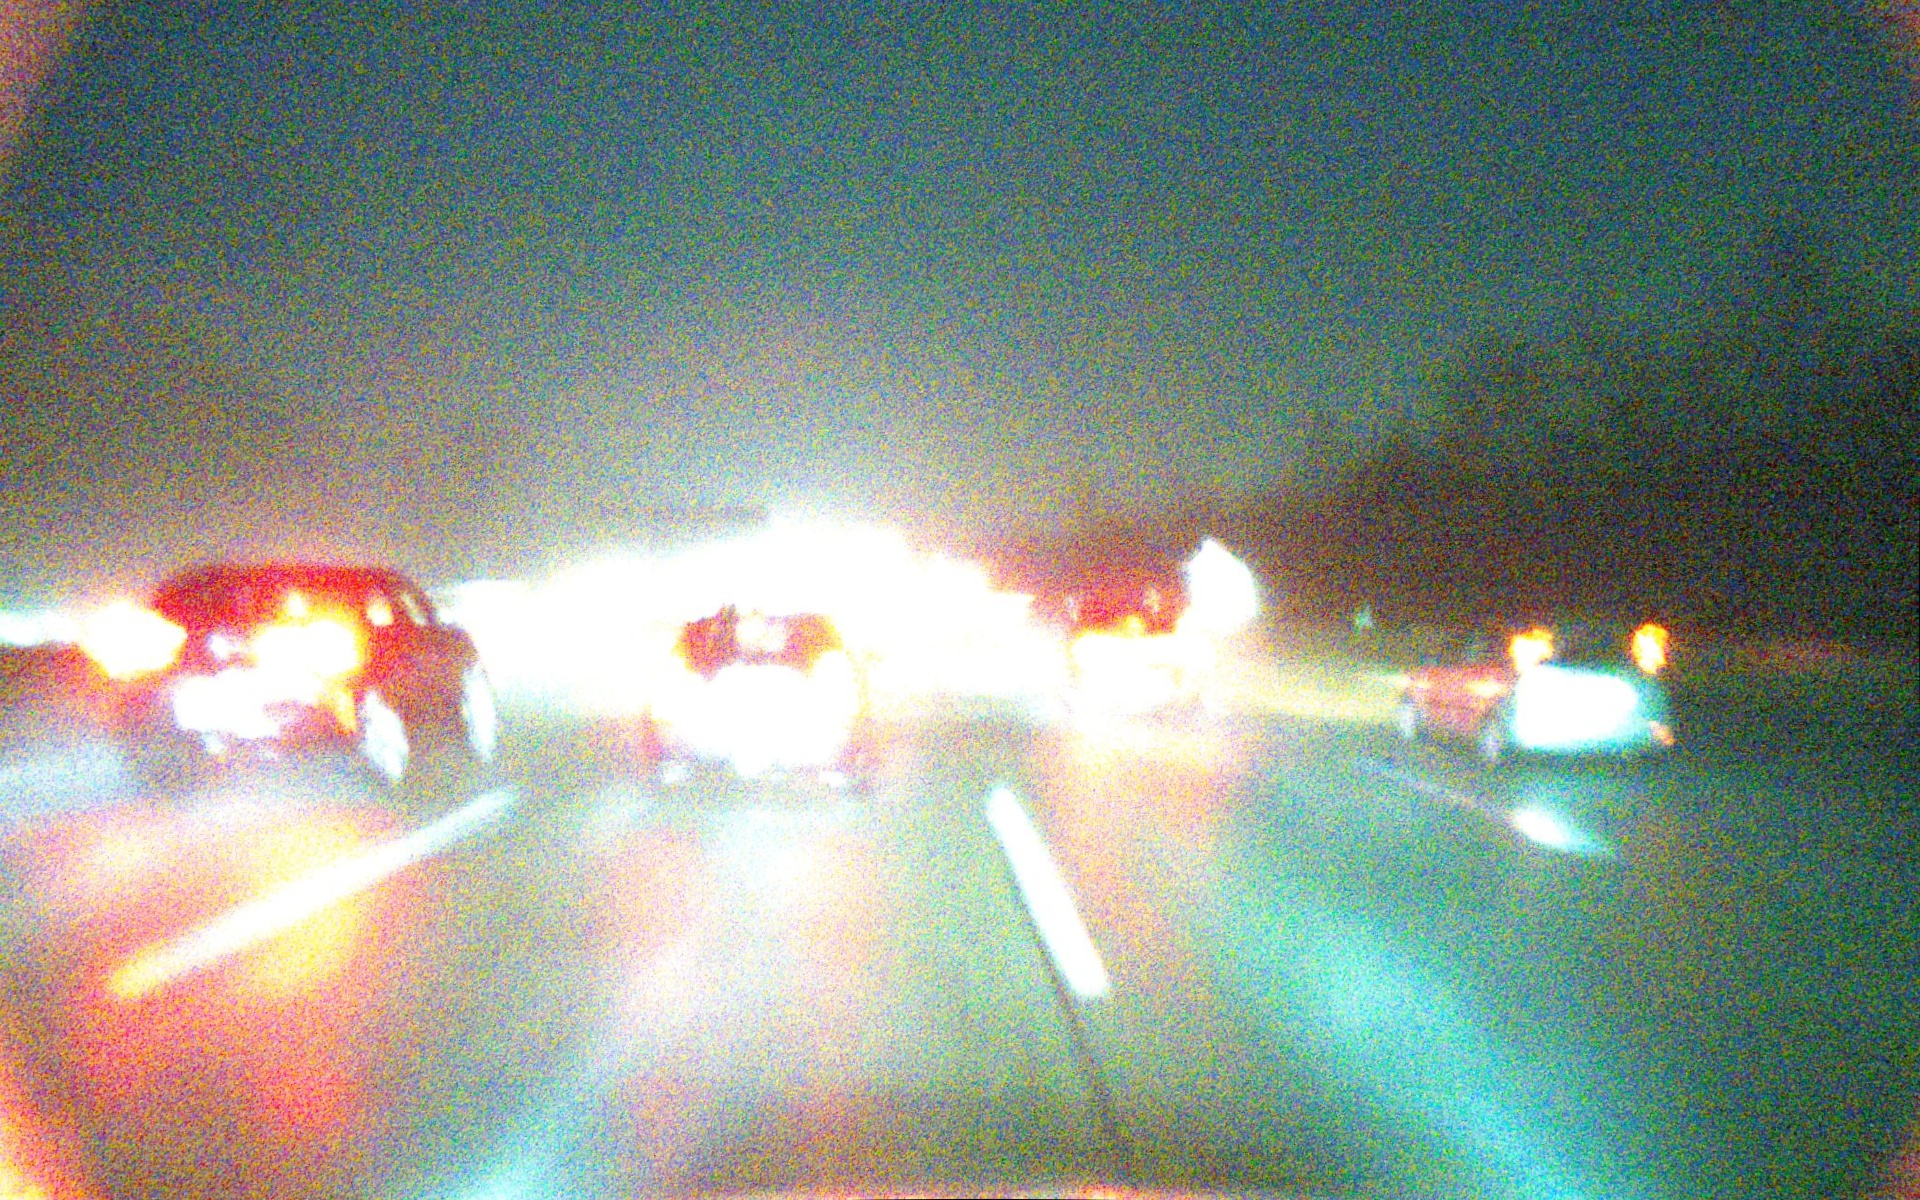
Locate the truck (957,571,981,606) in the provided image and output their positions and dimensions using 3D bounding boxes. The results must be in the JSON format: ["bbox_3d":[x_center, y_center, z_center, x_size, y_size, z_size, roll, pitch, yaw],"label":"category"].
[{"bbox_3d":[0.820,-1.009,151.243,1.953,3.096,6.464,-2,0,-1],"label":"truck"}]

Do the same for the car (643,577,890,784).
[{"bbox_3d":[-1.510,0.585,14.191,1.765,1.513,3.998,1,0,-2],"label":"car"}]

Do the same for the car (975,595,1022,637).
[{"bbox_3d":[1.585,0.648,69.225,1.825,1.646,3.999,1,0,-1],"label":"car"}]

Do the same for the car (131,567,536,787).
[{"bbox_3d":[-5.126,0.519,14.313,1.821,1.567,4.749,1,1,-2],"label":"car"}]

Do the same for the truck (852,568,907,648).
[{"bbox_3d":[-3.312,0.348,69.226,1.953,3.096,6.464,-2,0,-1],"label":"truck"}]

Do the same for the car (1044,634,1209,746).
[{"bbox_3d":[2.102,1.129,21.650,1.550,1.268,3.065,1,0,-6],"label":"car"}]

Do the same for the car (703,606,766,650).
[{"bbox_3d":[-6.976,0.846,51.415,1.629,1.258,3.758,-2,0,-4],"label":"car"}]

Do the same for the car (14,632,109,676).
[{"bbox_3d":[-30.227,1.806,55.717,1.501,1.330,3.231,-2,0,-2],"label":"car"}]

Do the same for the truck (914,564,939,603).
[{"bbox_3d":[-2.775,-1.362,138.246,1.953,3.096,6.464,-2,0,-1],"label":"truck"}]

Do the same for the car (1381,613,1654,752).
[{"bbox_3d":[5.666,0.794,17.169,1.550,1.268,3.065,1,0,-6],"label":"car"}]

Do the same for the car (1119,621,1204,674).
[{"bbox_3d":[5.253,1.216,43.447,1.550,1.268,3.065,1,0,-6],"label":"car"}]

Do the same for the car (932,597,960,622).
[{"bbox_3d":[-0.933,0.611,112.690,1.825,1.646,3.999,1,0,-1],"label":"car"}]
